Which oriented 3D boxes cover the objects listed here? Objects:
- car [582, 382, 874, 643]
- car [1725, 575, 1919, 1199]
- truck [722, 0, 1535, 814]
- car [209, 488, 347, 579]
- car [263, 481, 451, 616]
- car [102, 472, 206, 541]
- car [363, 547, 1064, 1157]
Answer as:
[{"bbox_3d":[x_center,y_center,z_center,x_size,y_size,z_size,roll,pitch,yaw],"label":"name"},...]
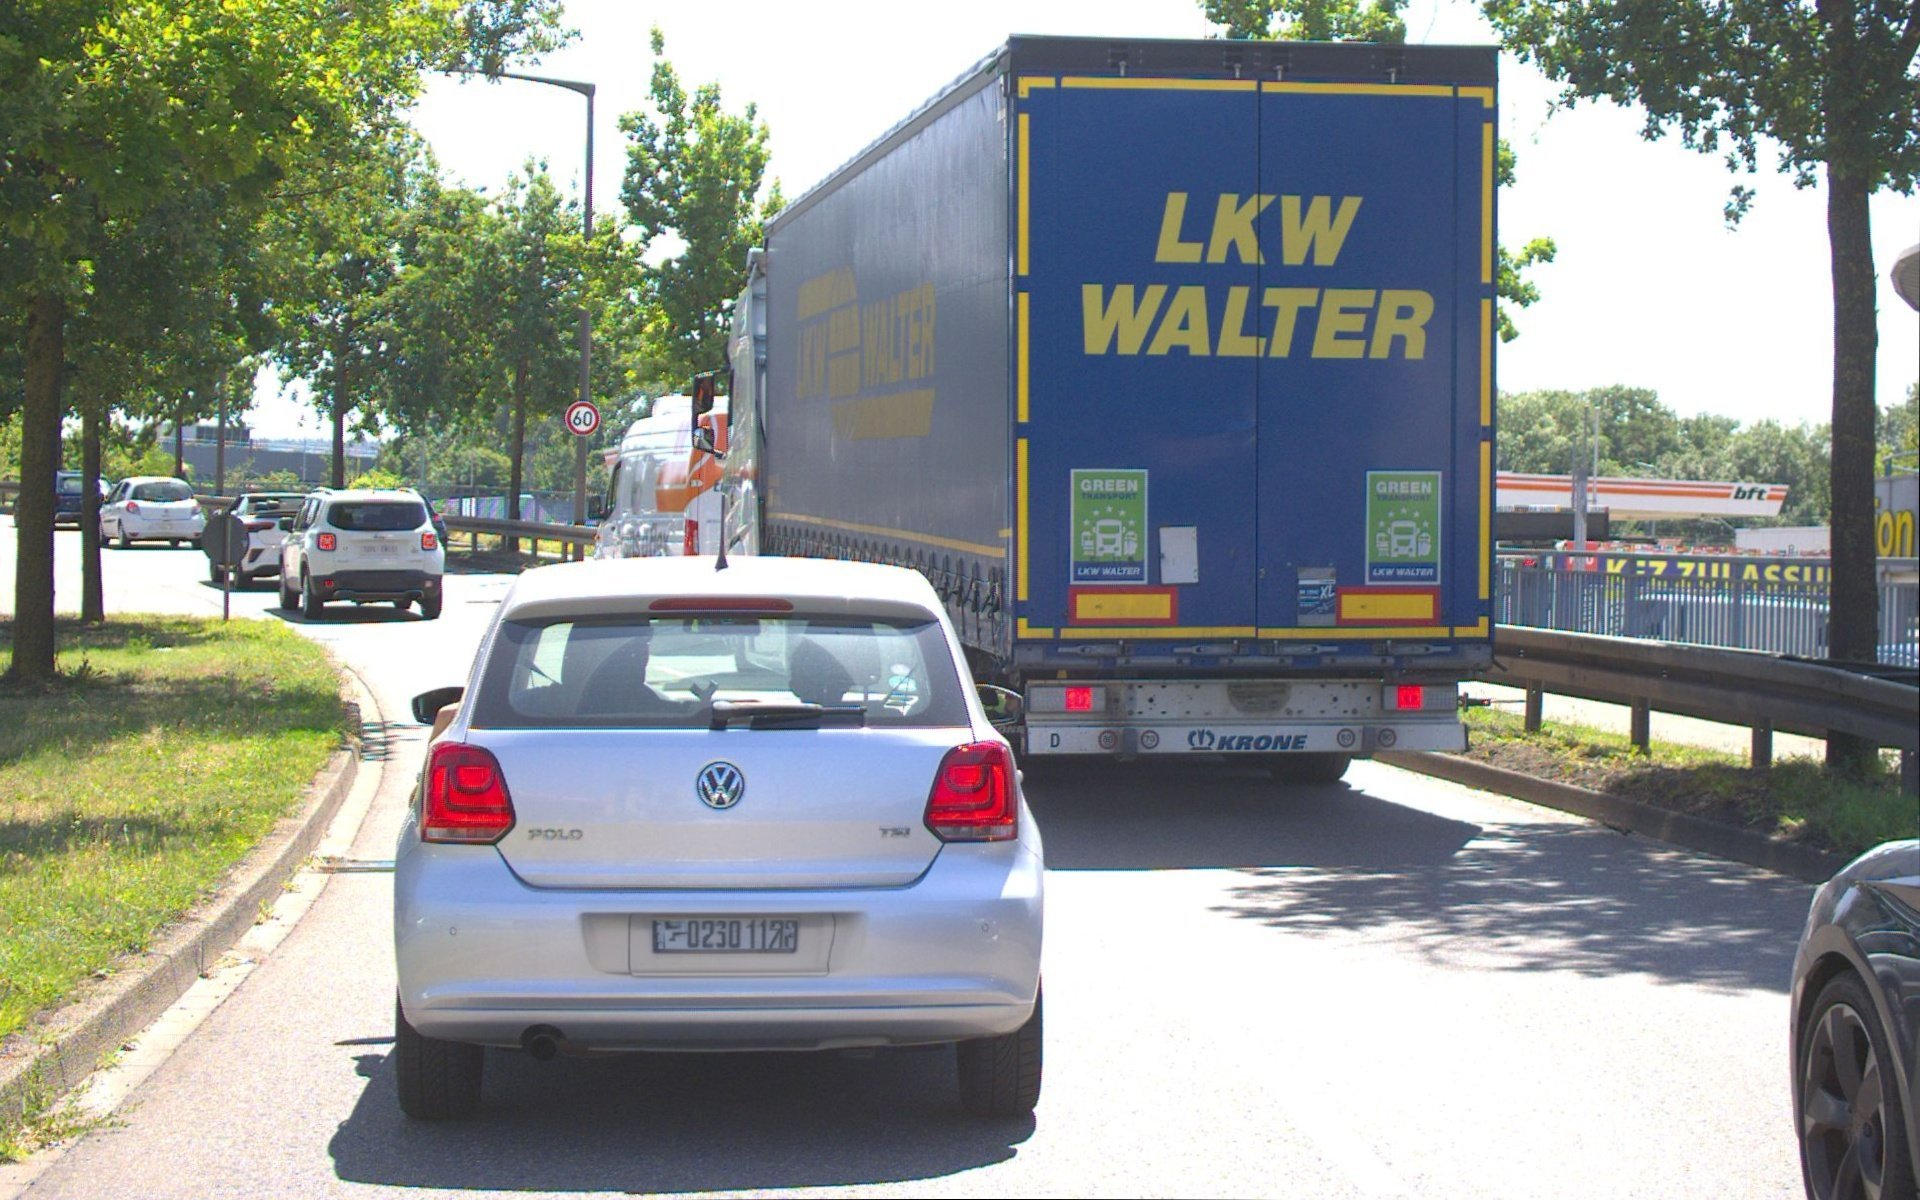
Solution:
[{"bbox_3d":[-2.947,-1.119,41.899,2.175,2.890,6.361,1,2,-16],"label":"car"},{"bbox_3d":[2.663,0.711,5.395,1.604,1.451,4.236,1,1,-5],"label":"car"},{"bbox_3d":[0.310,-1.224,25.595,2.832,4.184,16.479,1,1,-8],"label":"truck"},{"bbox_3d":[-10.744,-1.061,54.026,1.494,1.355,3.664,1,2,-21],"label":"car"},{"bbox_3d":[-8.150,-0.690,46.225,1.903,1.712,4.225,1,1,-18],"label":"car"},{"bbox_3d":[-16.779,-1.949,71.501,1.607,1.355,3.664,1,2,-21],"label":"car"},{"bbox_3d":[-0.658,0.584,9.961,1.646,1.434,3.537,1,1,-2],"label":"car"}]
